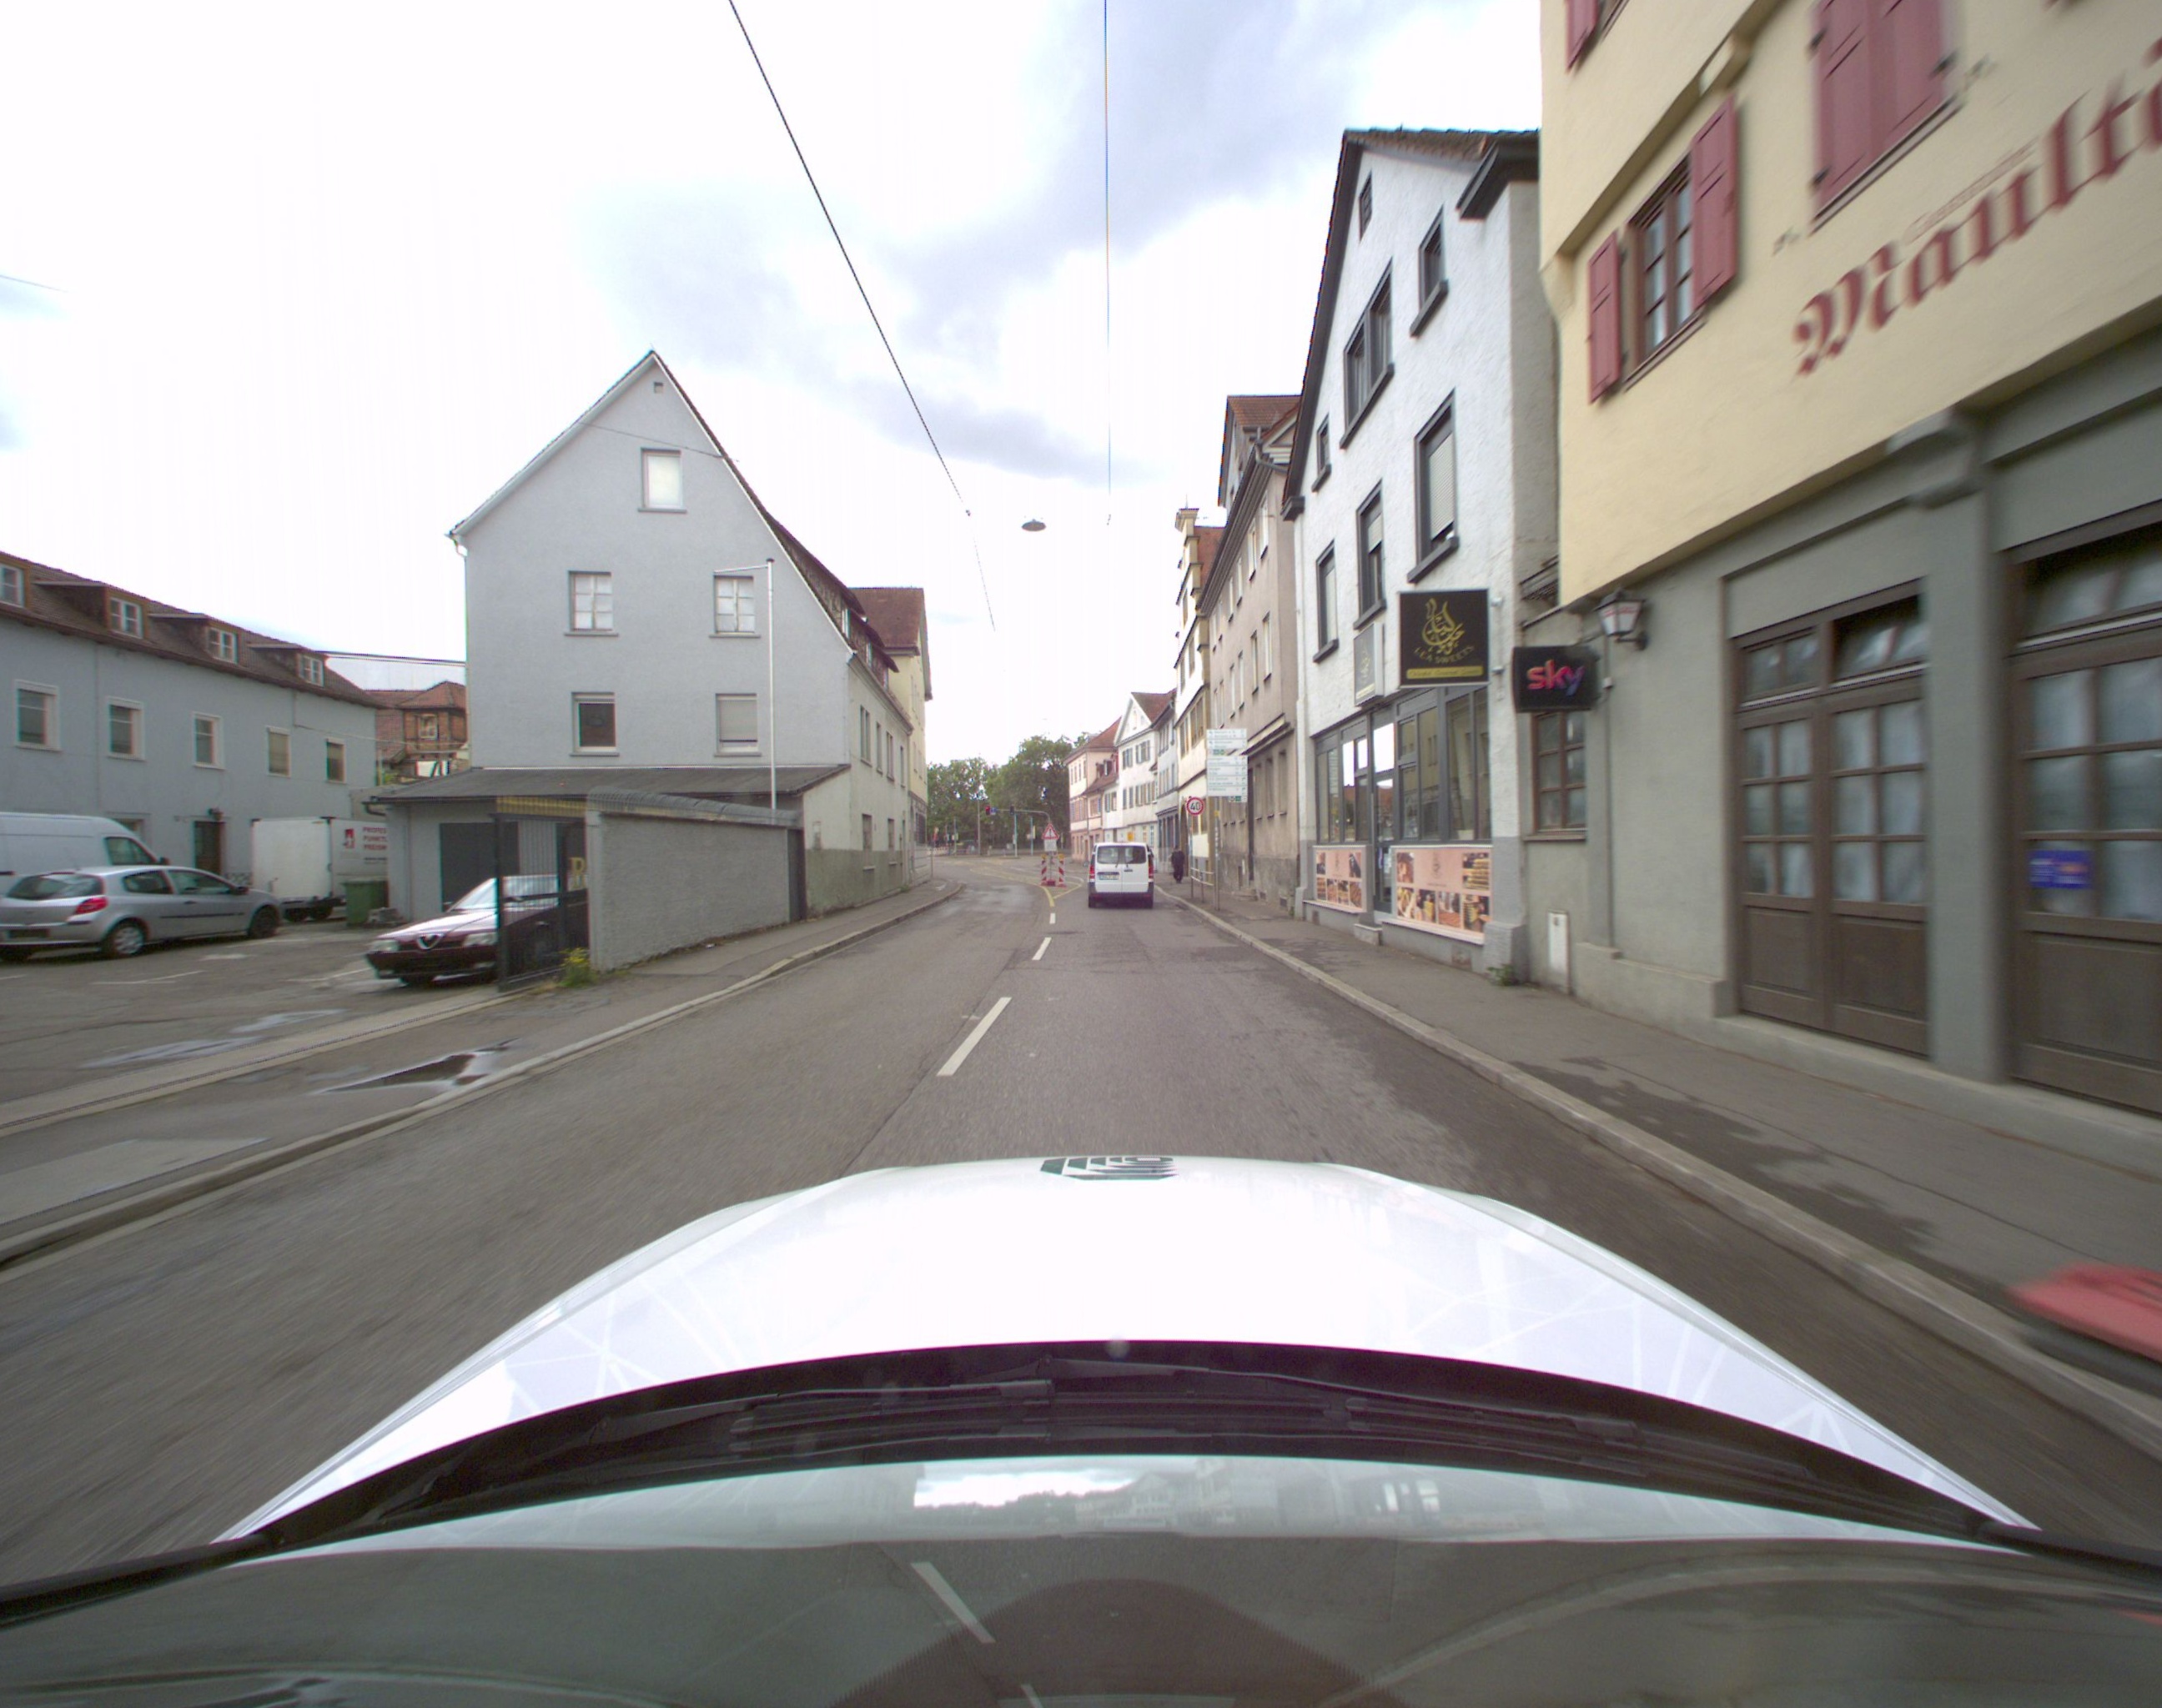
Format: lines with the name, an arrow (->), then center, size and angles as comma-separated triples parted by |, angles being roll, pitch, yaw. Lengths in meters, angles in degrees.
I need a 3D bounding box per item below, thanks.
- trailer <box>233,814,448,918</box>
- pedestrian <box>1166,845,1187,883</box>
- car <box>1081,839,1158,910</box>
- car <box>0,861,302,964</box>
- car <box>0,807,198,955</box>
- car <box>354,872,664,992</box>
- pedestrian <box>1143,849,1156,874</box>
trailer -> -18.232, 0.273, 20.361 | 1.992, 2.277, 3.989 | -2, 0, -8
pedestrian -> 4.276, 0.454, 36.431 | 0.828, 1.656, 0.944 | -2, 0, 1
car -> 1.062, 0.550, 24.536 | 1.988, 1.923, 4.246 | 1, 0, -2
car -> -16.622, 0.928, 14.485 | 1.993, 1.519, 3.988 | -2, 0, -8
car -> -18.868, 0.475, 13.801 | 1.993, 2.442, 5.838 | -2, 0, -8
car -> -7.986, 0.979, 11.968 | 1.837, 1.296, 4.249 | -2, 0, -6
pedestrian -> 4.620, 0.512, 55.008 | 0.752, 1.667, 0.809 | -2, 0, 1
